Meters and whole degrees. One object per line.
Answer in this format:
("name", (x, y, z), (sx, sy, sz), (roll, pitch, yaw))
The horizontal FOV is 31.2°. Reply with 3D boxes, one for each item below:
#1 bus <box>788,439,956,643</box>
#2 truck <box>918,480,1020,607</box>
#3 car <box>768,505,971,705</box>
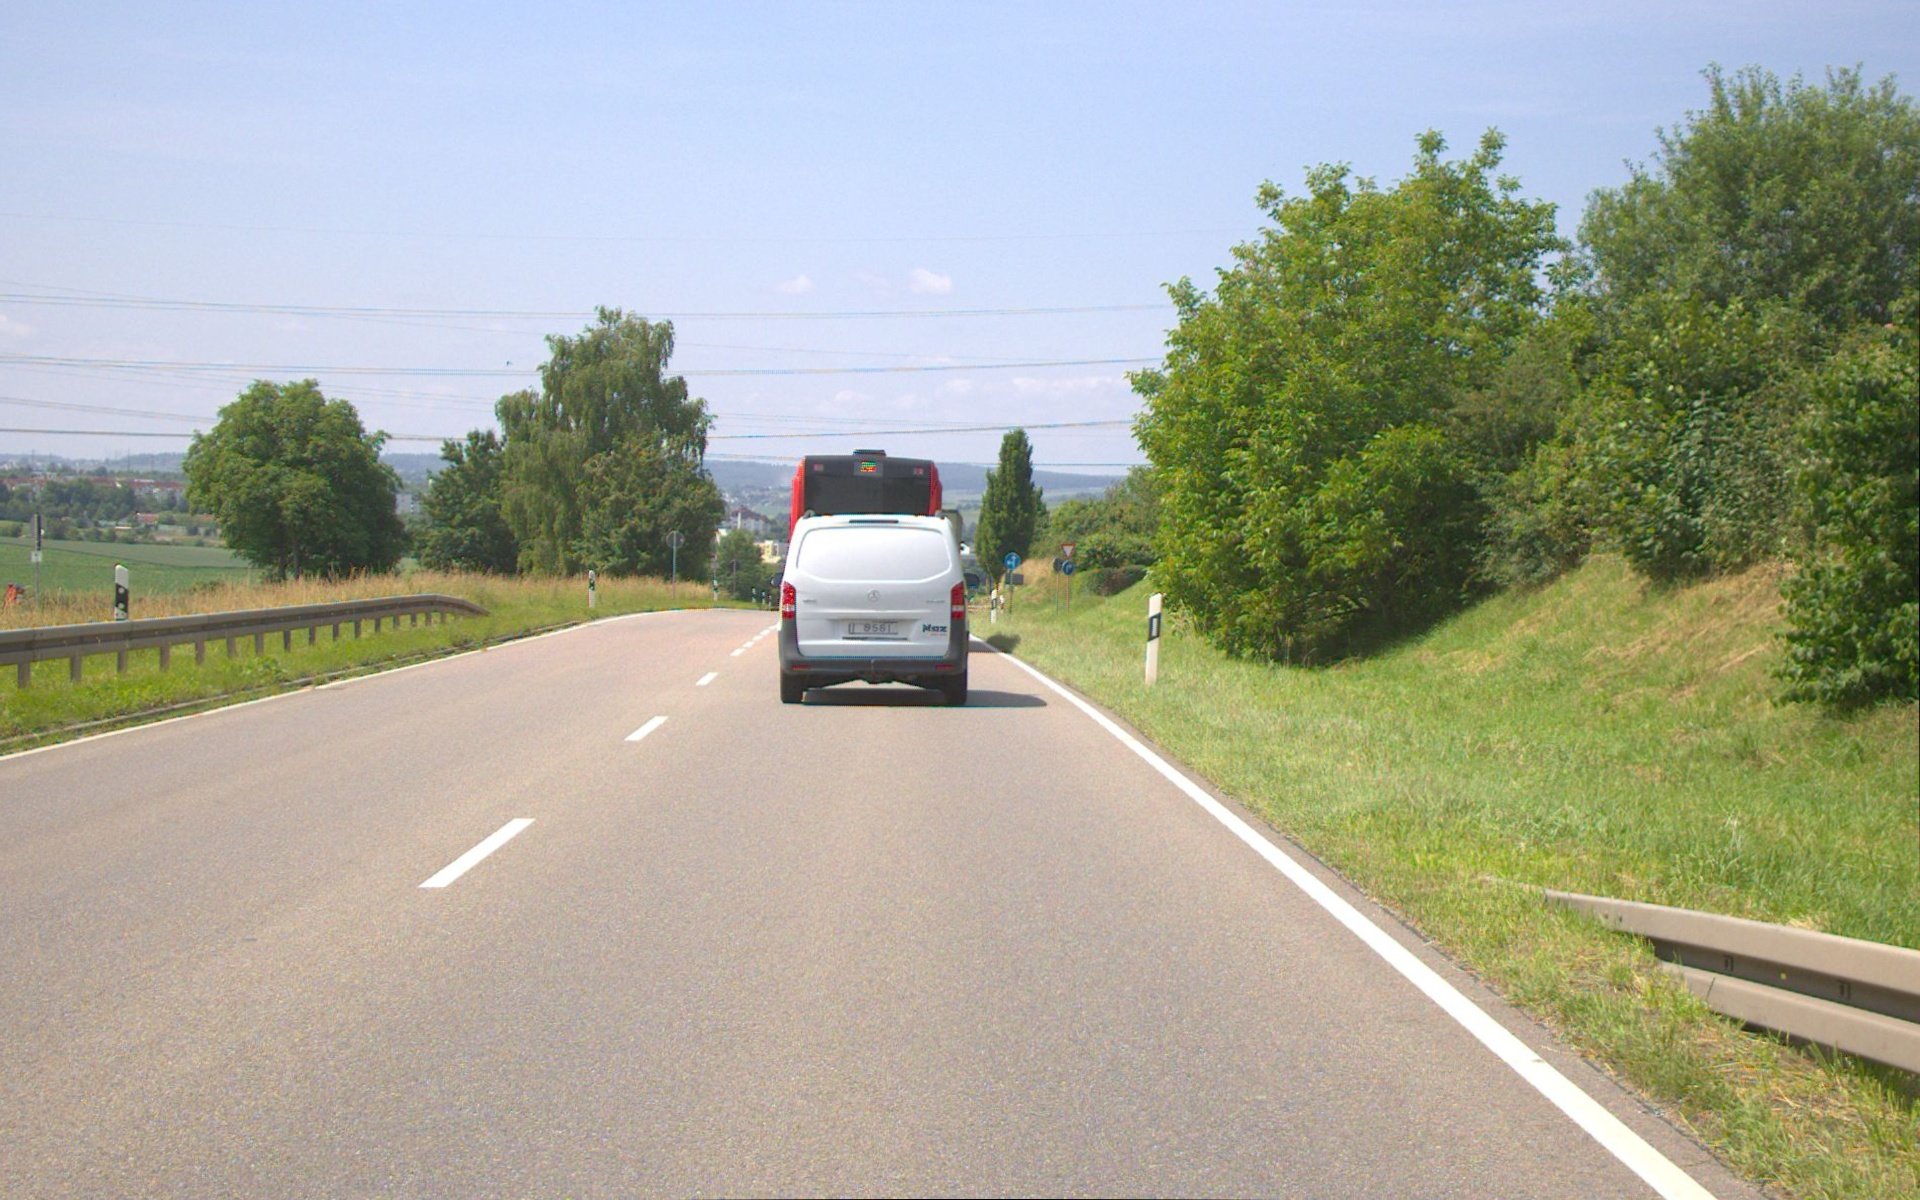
("bus", (-1.708, -1.157, 63.081), (2.747, 3.342, 13.224), (0, 2, -2))
("truck", (0.225, -2.032, 129.322), (3.488, 4.408, 14.903), (1, 0, -1))
("car", (-0.874, -0.007, 35.304), (1.923, 1.883, 4.000), (1, 2, 0))
